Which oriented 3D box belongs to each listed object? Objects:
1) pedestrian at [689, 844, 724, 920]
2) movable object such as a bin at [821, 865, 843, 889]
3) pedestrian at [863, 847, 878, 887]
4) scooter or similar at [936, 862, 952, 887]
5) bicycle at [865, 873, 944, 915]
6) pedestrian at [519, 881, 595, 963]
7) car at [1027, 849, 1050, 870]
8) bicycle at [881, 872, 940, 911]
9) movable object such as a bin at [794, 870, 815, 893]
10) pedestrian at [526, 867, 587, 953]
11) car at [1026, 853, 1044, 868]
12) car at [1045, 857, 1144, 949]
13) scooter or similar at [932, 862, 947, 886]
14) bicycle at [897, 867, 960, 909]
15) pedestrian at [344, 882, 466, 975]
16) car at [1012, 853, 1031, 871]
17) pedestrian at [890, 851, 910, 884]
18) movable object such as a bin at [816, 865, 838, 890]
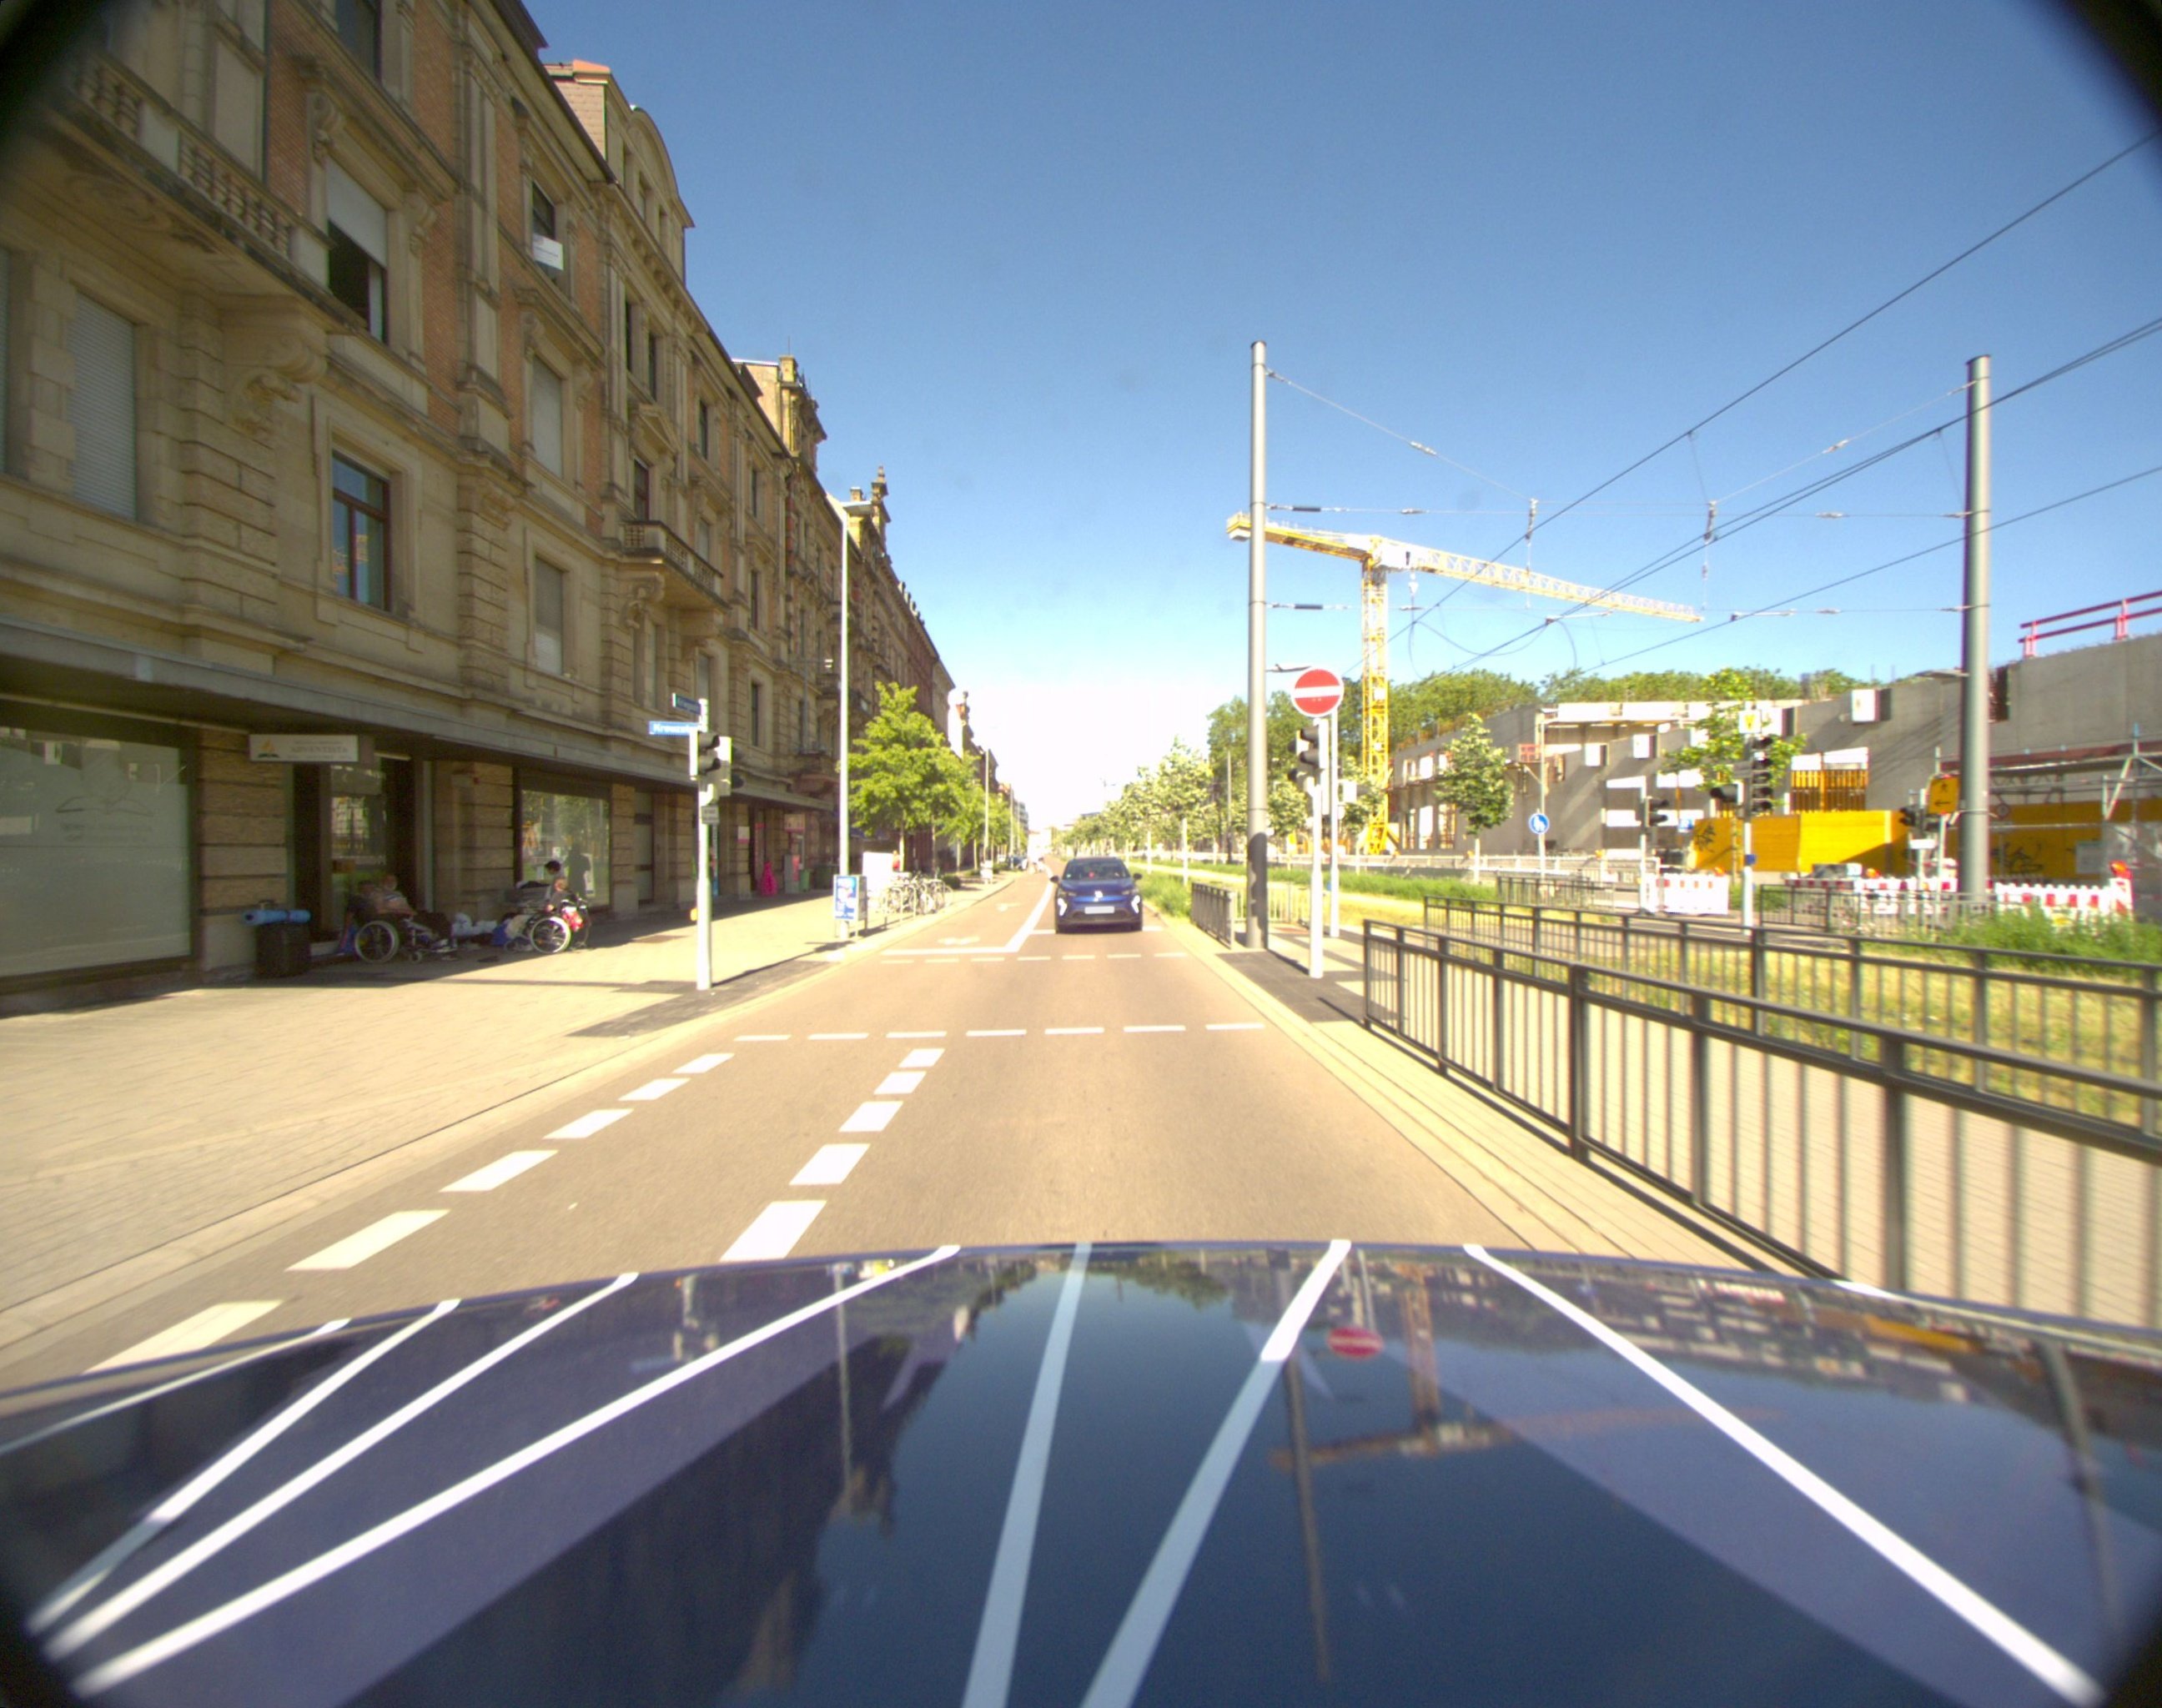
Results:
[{"bbox_3d":[-8.923,0.659,18.121,0.512,1.791,0.501,-1,1,7],"label":"pedestrian"},{"bbox_3d":[-10.578,0.973,32.349,0.692,0.969,0.587,-1,1,3],"label":"movable object such as a bin"},{"bbox_3d":[-9.864,0.609,35.589,0.512,1.839,0.501,-1,1,7],"label":"pedestrian"},{"bbox_3d":[-6.789,1.005,37.721,0.672,1.213,0.327,0,1,21],"label":"scooter or similar"},{"bbox_3d":[-4.959,1.123,21.420,2.054,1.113,0.603,1,1,-1],"label":"bicycle"},{"bbox_3d":[-8.199,1.048,11.912,0.718,1.211,0.647,2,1,4],"label":"pedestrian"},{"bbox_3d":[-3.962,0.526,71.500,1.822,1.783,3.999,-3,1,0],"label":"car"},{"bbox_3d":[-5.137,1.125,22.900,1.668,1.104,0.602,2,1,-9],"label":"bicycle"},{"bbox_3d":[-10.657,1.050,29.301,0.606,0.861,0.476,1,2,3],"label":"movable object such as a bin"},{"bbox_3d":[-8.782,0.919,12.736,0.574,1.386,0.648,1,1,-3],"label":"pedestrian"},{"bbox_3d":[-4.868,0.718,81.350,1.669,1.453,3.748,-3,1,-1],"label":"car"},{"bbox_3d":[0.276,0.890,15.777,1.749,1.613,4.152,-1,0,1],"label":"car"},{"bbox_3d":[-6.936,0.996,37.323,0.637,1.166,0.290,0,1,21],"label":"scooter or similar"},{"bbox_3d":[-4.886,1.081,24.434,1.869,1.244,0.691,2,1,-2],"label":"bicycle"},{"bbox_3d":[-9.460,1.023,10.670,1.075,1.211,0.702,1,1,-2],"label":"pedestrian"},{"bbox_3d":[-5.857,0.747,75.123,1.669,1.574,3.748,-3,1,-1],"label":"car"},{"bbox_3d":[-8.644,0.642,36.336,0.753,1.575,0.808,1,1,-1],"label":"pedestrian"},{"bbox_3d":[-10.615,0.960,31.734,0.692,1.007,0.587,1,2,3],"label":"movable object such as a bin"}]
